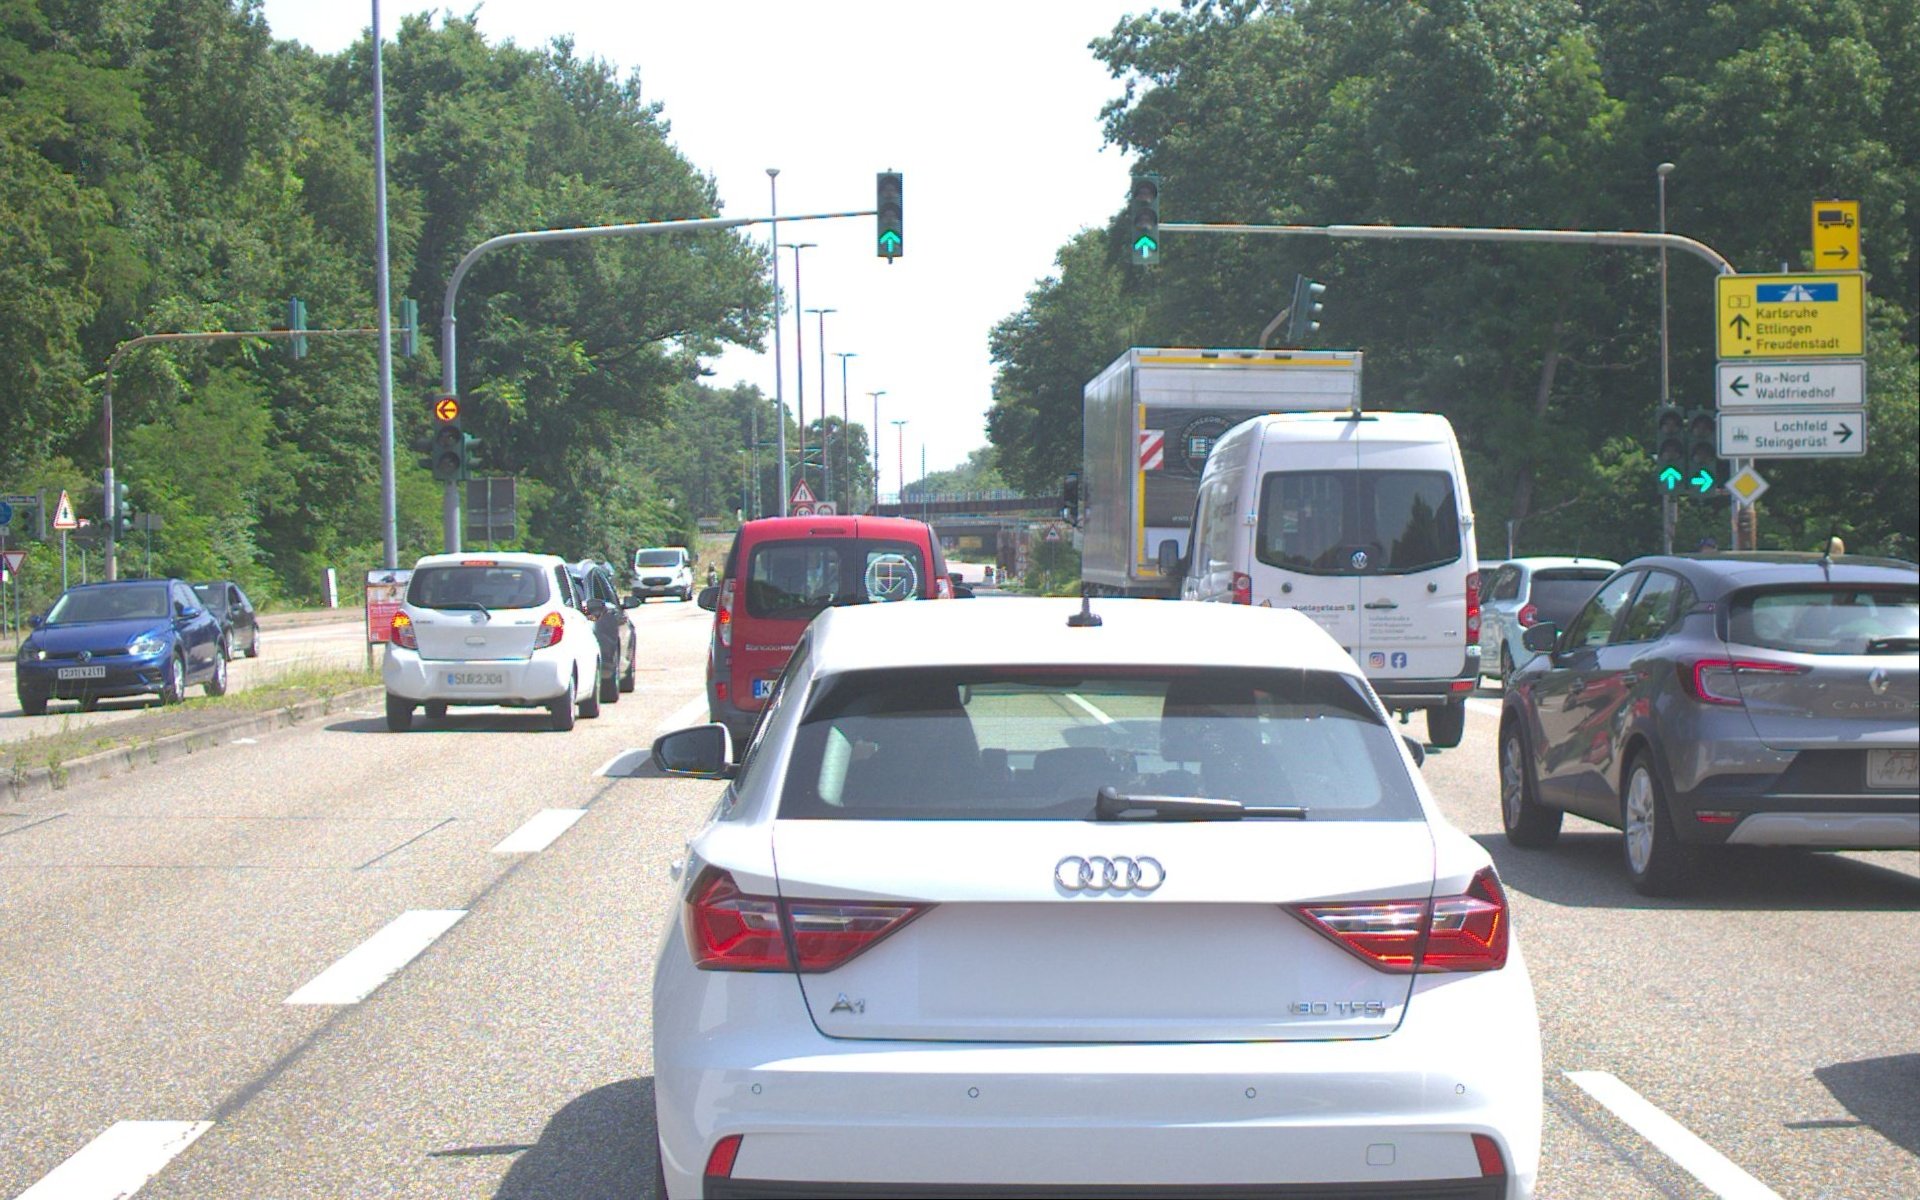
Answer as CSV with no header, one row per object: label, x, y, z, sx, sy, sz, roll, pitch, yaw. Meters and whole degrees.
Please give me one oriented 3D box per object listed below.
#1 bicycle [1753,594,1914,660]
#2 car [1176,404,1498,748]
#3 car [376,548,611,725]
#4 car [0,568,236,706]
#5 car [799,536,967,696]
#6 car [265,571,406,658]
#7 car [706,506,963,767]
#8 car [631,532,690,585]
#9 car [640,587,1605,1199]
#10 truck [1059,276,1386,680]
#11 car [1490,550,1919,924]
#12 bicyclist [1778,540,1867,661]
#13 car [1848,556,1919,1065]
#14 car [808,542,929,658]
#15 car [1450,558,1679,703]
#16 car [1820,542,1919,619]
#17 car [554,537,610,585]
bicycle,10.503,0.318,41.375,1.826,0.763,0.599,0,1,45
car,3.039,-0.218,28.741,2.031,2.635,4.845,0,1,-2
car,-4.123,0.277,30.919,1.711,1.487,4.092,0,1,-2
car,-9.530,0.381,38.954,1.804,1.331,4.000,-4,1,-1
car,-0.863,0.132,36.940,1.711,1.626,4.092,0,1,-2
car,-11.112,0.233,61.401,1.804,1.331,4.000,-4,1,-1
car,-0.920,0.216,25.002,1.711,1.742,4.092,0,1,-2
car,-10.866,-1.509,124.908,1.872,1.854,4.000,-1,1,-2
car,0.208,0.682,8.131,1.711,1.381,4.092,0,1,-2
truck,3.060,-1.430,43.685,3.088,4.419,11.581,0,1,-1
car,3.814,0.550,16.650,1.711,1.587,4.092,0,1,-2
bicyclist,10.405,-0.002,41.466,0.828,1.434,0.598,0,1,45
car,3.721,0.669,8.631,1.711,1.473,4.092,3,1,-2
car,-1.370,-0.029,50.551,1.711,1.626,4.092,0,1,-2
car,6.761,0.298,38.822,1.711,1.541,4.092,0,1,-2
car,19.043,-0.416,67.434,3.988,1.459,1.674,-1,1,6
car,-15.023,-1.564,136.728,1.872,1.854,4.000,-1,1,-2
